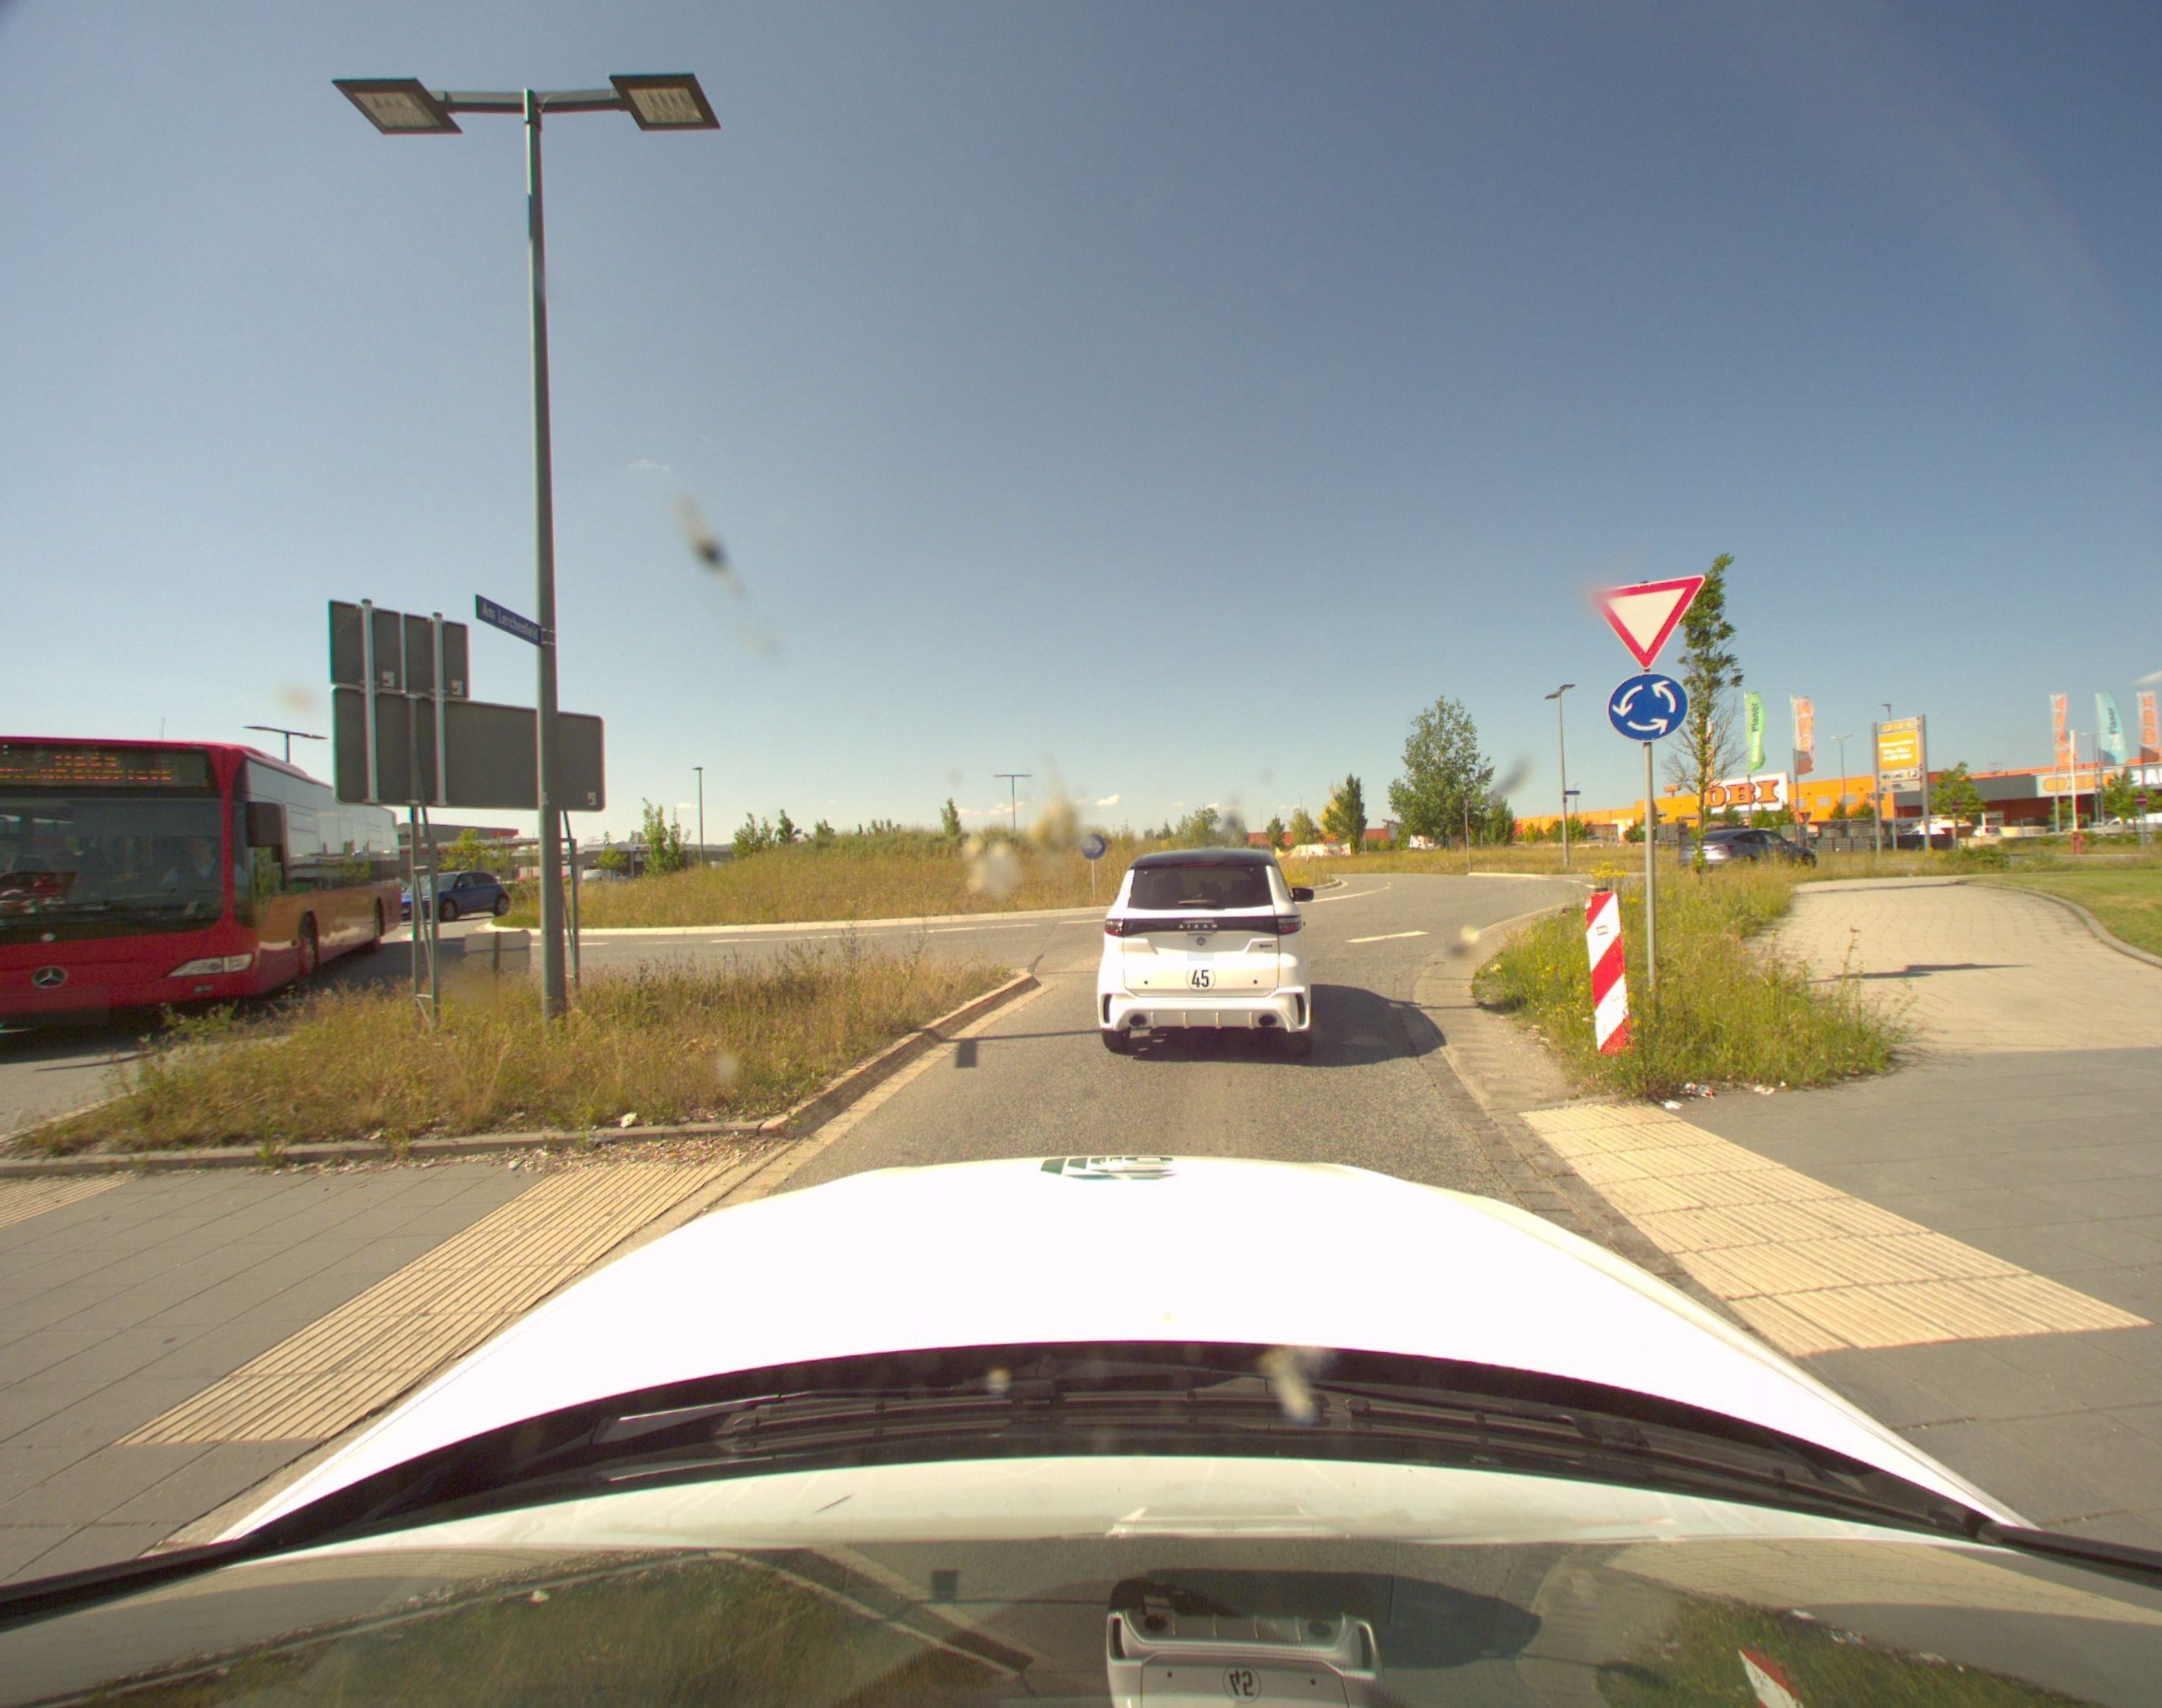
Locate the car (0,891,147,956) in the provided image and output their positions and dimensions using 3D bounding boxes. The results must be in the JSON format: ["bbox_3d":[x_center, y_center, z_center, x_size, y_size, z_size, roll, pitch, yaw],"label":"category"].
[{"bbox_3d":[-27.954,1.871,21.708,4.086,1.415,1.811,-3,3,4],"label":"car"}]

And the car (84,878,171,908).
[{"bbox_3d":[-73.193,2.970,62.600,1.989,2.013,3.995,-2,0,-3],"label":"car"}]

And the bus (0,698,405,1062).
[{"bbox_3d":[-12.689,0.315,12.289,2.629,3.241,11.753,-4,1,-35],"label":"bus"}]

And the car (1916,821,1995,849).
[{"bbox_3d":[58.847,-1.257,54.811,3.756,1.841,1.697,0,-1,-6],"label":"car"}]

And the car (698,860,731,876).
[{"bbox_3d":[-42.270,1.638,94.030,1.987,1.732,3.998,-2,-1,-1],"label":"car"}]

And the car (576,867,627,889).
[{"bbox_3d":[-46.534,2.304,79.208,1.988,2.014,5.131,-2,-1,-2],"label":"car"}]

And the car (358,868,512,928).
[{"bbox_3d":[-21.138,1.365,26.880,1.846,1.635,4.076,-3,0,-2],"label":"car"}]

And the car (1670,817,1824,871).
[{"bbox_3d":[22.021,-0.332,26.955,4.161,1.584,1.822,-2,0,-15],"label":"car"}]

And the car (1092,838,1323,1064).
[{"bbox_3d":[1.159,0.627,7.138,1.499,1.440,3.362,-1,2,11],"label":"car"}]
